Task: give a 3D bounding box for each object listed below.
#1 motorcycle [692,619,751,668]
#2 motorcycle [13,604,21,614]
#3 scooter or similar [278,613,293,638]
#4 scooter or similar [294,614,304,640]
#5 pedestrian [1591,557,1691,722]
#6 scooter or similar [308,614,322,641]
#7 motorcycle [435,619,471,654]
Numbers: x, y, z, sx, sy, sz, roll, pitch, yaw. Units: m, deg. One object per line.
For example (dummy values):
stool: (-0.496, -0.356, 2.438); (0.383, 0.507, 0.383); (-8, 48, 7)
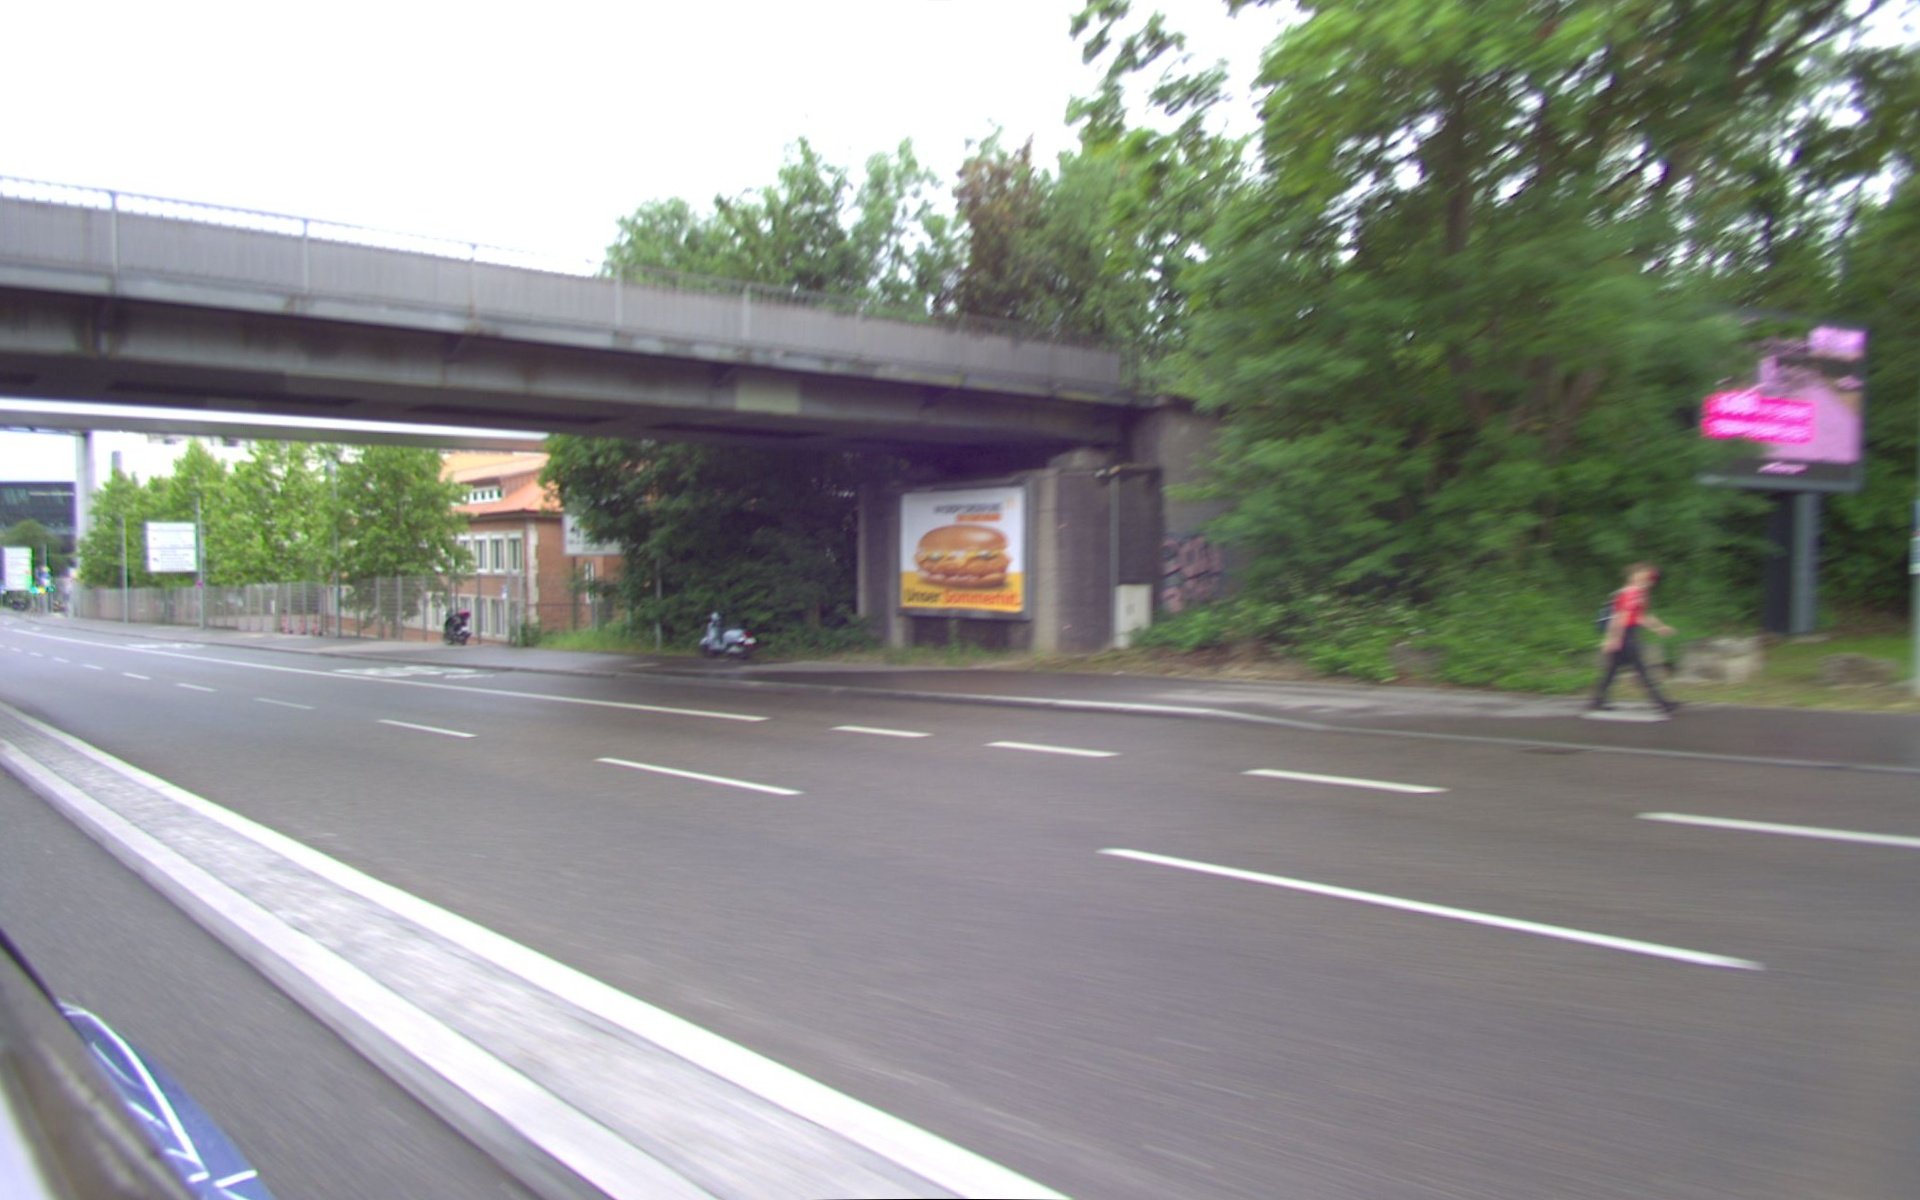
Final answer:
motorcycle: (-5.910, 1.067, 25.030); (0.463, 1.167, 1.933); (0, -1, -45)
motorcycle: (-114.744, 1.054, 123.138); (2.038, 1.171, 0.561); (0, 0, 41)
scooter or similar: (-33.658, 1.276, 50.480); (1.307, 1.227, 0.308); (-1, -1, 43)
scooter or similar: (-31.868, 1.286, 48.786); (0.307, 1.227, 1.311); (0, 0, -36)
pedestrian: (7.864, 0.438, 11.702); (0.513, 1.829, 0.801); (-2, 0, -38)
scooter or similar: (-30.048, 1.257, 47.159); (0.307, 1.227, 1.309); (0, 0, -43)
motorcycle: (-18.233, 1.301, 36.378); (1.996, 1.214, 0.463); (-1, -1, 42)
